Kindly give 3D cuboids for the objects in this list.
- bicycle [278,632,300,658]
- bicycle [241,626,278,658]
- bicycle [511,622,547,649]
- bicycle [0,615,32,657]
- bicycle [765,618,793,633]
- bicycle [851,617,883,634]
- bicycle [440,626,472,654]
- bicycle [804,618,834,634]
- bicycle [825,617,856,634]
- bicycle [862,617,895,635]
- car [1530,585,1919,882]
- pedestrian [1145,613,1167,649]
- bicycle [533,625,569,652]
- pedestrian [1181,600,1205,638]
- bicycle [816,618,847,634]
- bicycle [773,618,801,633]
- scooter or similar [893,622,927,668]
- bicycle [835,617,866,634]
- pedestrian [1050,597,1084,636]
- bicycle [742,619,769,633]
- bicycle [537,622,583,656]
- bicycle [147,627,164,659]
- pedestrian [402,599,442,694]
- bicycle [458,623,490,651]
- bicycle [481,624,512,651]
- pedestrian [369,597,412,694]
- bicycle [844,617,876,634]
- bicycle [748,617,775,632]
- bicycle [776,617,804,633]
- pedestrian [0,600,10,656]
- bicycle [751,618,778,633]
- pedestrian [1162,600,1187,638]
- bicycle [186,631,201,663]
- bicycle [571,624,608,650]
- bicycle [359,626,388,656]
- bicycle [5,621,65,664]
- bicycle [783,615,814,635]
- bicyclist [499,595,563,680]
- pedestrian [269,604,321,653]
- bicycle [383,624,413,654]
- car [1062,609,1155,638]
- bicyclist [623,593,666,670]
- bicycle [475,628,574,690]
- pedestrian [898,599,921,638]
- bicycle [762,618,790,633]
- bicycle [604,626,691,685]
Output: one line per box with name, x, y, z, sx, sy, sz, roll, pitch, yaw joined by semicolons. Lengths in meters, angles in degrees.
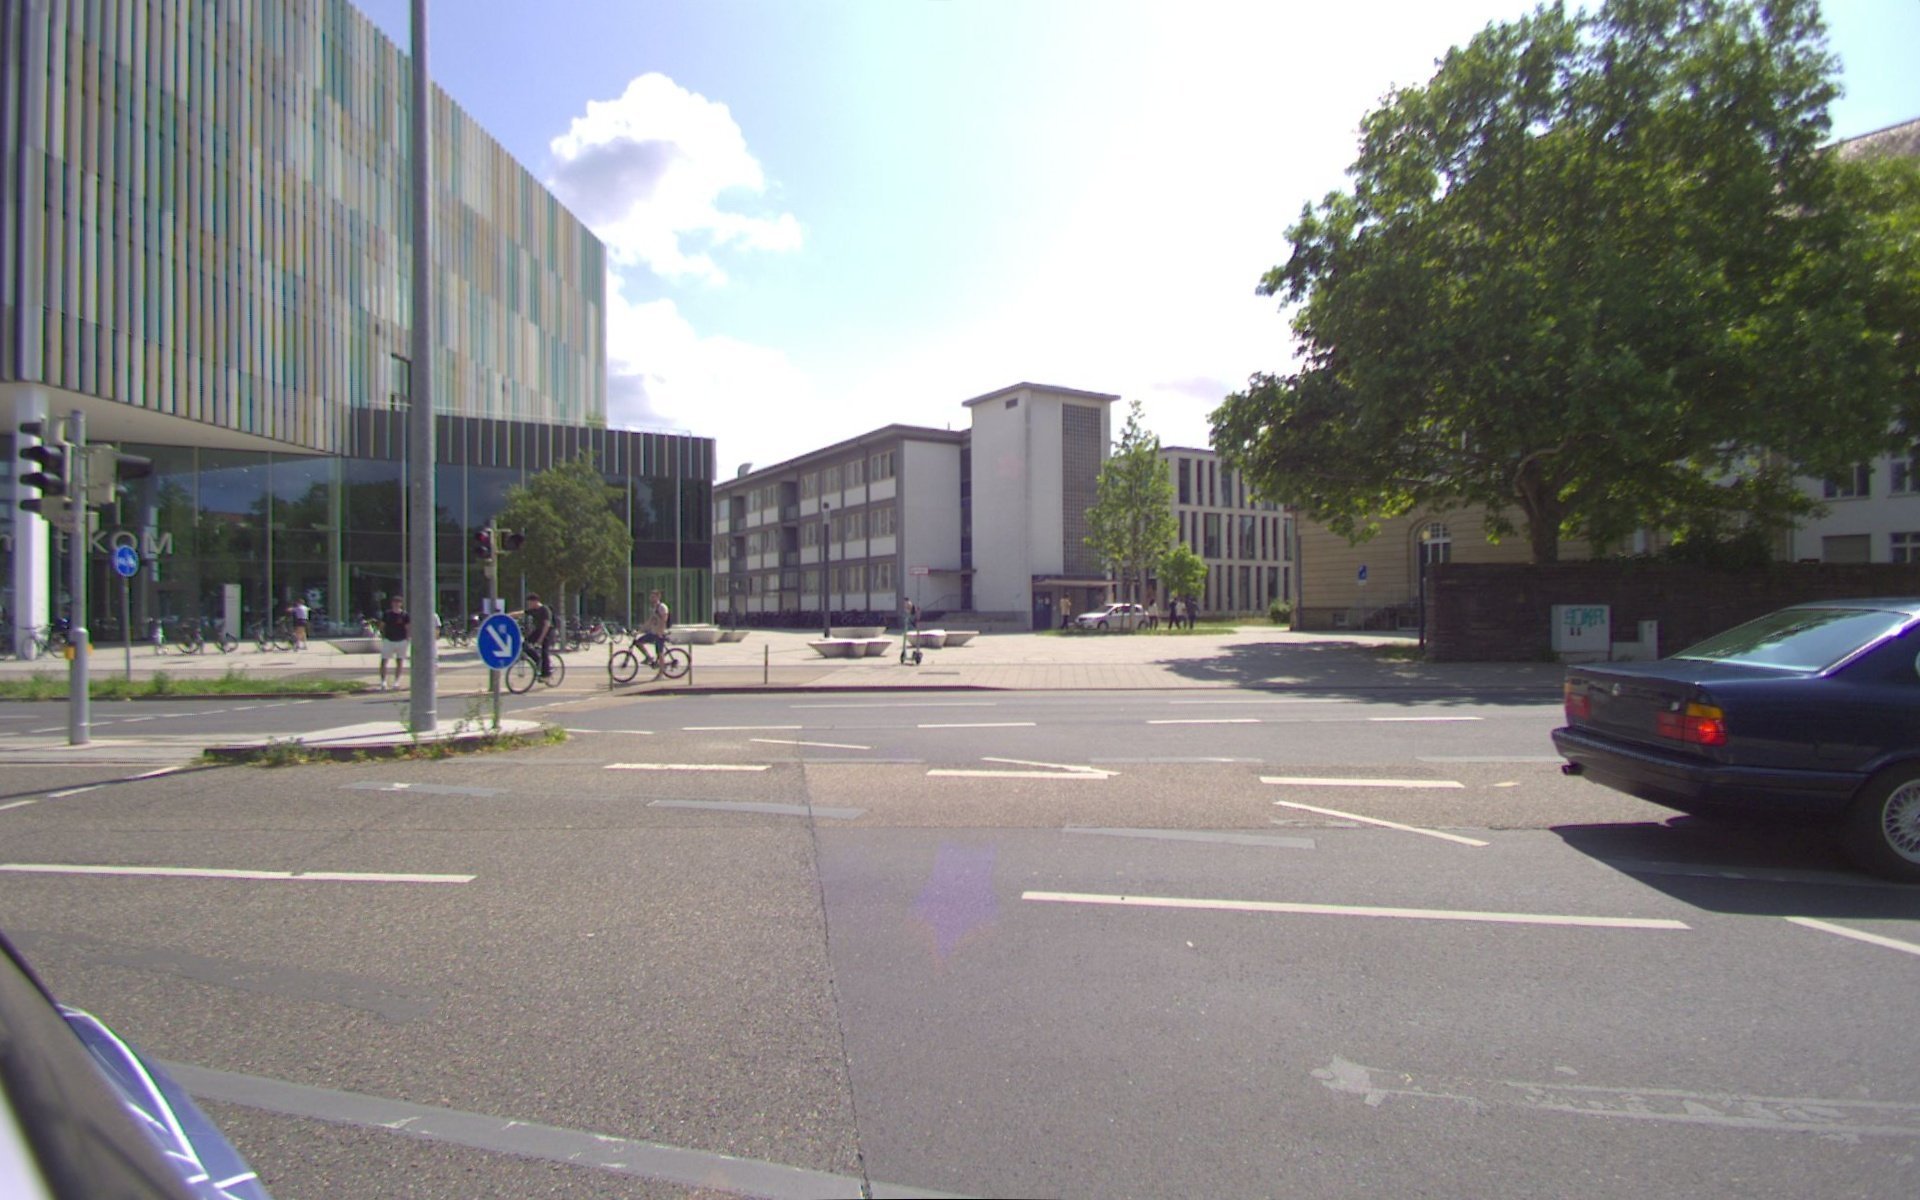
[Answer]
bicycle;-22.321;1.481;33.668;0.520;0.770;1.779;0;0;-30
bicycle;-23.053;1.370;33.340;0.520;0.962;1.779;0;0;-18
bicycle;-16.185;1.336;37.978;1.772;0.962;0.522;0;0;40
bicycle;-28.239;1.051;29.826;0.368;1.196;1.546;1;0;0
bicycle;-12.062;1.677;67.459;1.743;0.962;0.531;0;1;-26
bicycle;-5.251;1.432;57.246;1.743;0.962;0.531;0;1;-26
bicycle;-18.421;1.435;36.962;0.521;0.962;1.775;0;0;-44
bicycle;-8.660;1.578;62.113;1.743;0.962;0.531;0;1;-26
bicycle;-7.145;1.533;60.340;1.743;0.962;0.531;0;1;-26
bicycle;-4.526;1.445;56.142;1.742;0.962;0.531;0;1;-24
car;5.885;0.614;5.460;4.557;1.397;1.694;-1;0;6
pedestrian;9.683;1.528;50.072;0.812;1.803;0.834;-1;-1;32
bicycle;-15.497;1.457;38.332;1.772;0.962;0.522;0;0;40
pedestrian;11.294;0.923;48.988;0.863;1.803;0.834;-1;-1;34
bicycle;-7.770;1.560;61.252;1.743;0.962;0.531;0;1;-26
bicycle;-11.319;1.672;66.113;1.743;0.962;0.531;0;1;-26
scooter or similar;-1.202;1.067;24.335;0.396;1.075;1.155;0;-1;-25
bicycle;-6.415;1.505;59.228;1.743;0.962;0.531;0;1;-26
pedestrian;4.682;0.729;44.243;1.287;1.663;1.320;-1;-1;14
bicycle;-14.392;1.807;71.227;1.743;0.962;0.531;0;1;-26
bicycle;-12.094;1.164;30.561;1.772;0.962;0.522;0;0;40
bicycle;-25.393;1.349;31.950;0.367;0.962;1.550;0;0;-37
pedestrian;-10.642;0.911;20.016;0.567;1.856;0.416;0;0;-3
bicycle;-17.963;1.360;37.389;0.521;0.962;1.775;0;0;-44
bicycle;-17.320;1.387;37.798;0.521;0.962;1.775;0;0;-44
pedestrian;-11.121;0.873;19.777;0.622;1.856;0.481;0;0;-13
bicycle;-5.750;1.470;58.104;1.743;0.962;0.531;0;1;-26
bicycle;-13.769;1.694;70.122;1.743;0.962;0.531;0;1;-26
bicycle;-10.971;1.608;65.283;1.743;0.962;0.531;0;1;-26
pedestrian;-32.067;0.925;33.460;0.670;1.856;0.689;0;0;9
bicycle;-13.407;1.758;69.564;1.743;0.962;0.531;0;1;-26
pedestrian;10.464;0.935;49.396;0.890;1.803;0.834;-1;-1;35
bicycle;-24.618;1.485;32.503;0.367;0.962;1.777;0;0;-37
bicycle;-14.262;1.428;38.960;1.772;0.962;0.522;0;0;40
bicycle;-20.196;1.388;34.847;0.521;0.962;1.776;0;0;-41
bicycle;-27.438;1.238;30.041;0.368;1.196;1.546;1;1;0
bicycle;-10.228;1.576;64.197;1.744;0.961;0.531;-9;5;-26
bicyclist;-8.391;0.715;19.807;0.984;1.628;0.658;0;-1;-42
pedestrian;-22.923;0.979;34.893;1.001;1.663;1.182;-1;-1;2
bicycle;-19.804;1.364;35.636;0.521;0.962;1.776;-4;3;-41
car;7.605;1.188;51.849;4.417;1.316;2.006;-1;1;-30
bicyclist;-6.503;0.641;20.850;0.772;1.550;0.659;0;-1;-23
bicycle;-8.472;1.124;19.724;1.646;1.133;0.696;0;-1;-43
pedestrian;-2.380;0.861;47.834;0.829;1.803;0.679;0;-1;-28
bicycle;-12.371;1.708;68.043;1.743;0.962;0.531;0;1;-26
bicycle;-6.440;1.129;20.866;1.642;1.133;0.697;0;-1;-23
